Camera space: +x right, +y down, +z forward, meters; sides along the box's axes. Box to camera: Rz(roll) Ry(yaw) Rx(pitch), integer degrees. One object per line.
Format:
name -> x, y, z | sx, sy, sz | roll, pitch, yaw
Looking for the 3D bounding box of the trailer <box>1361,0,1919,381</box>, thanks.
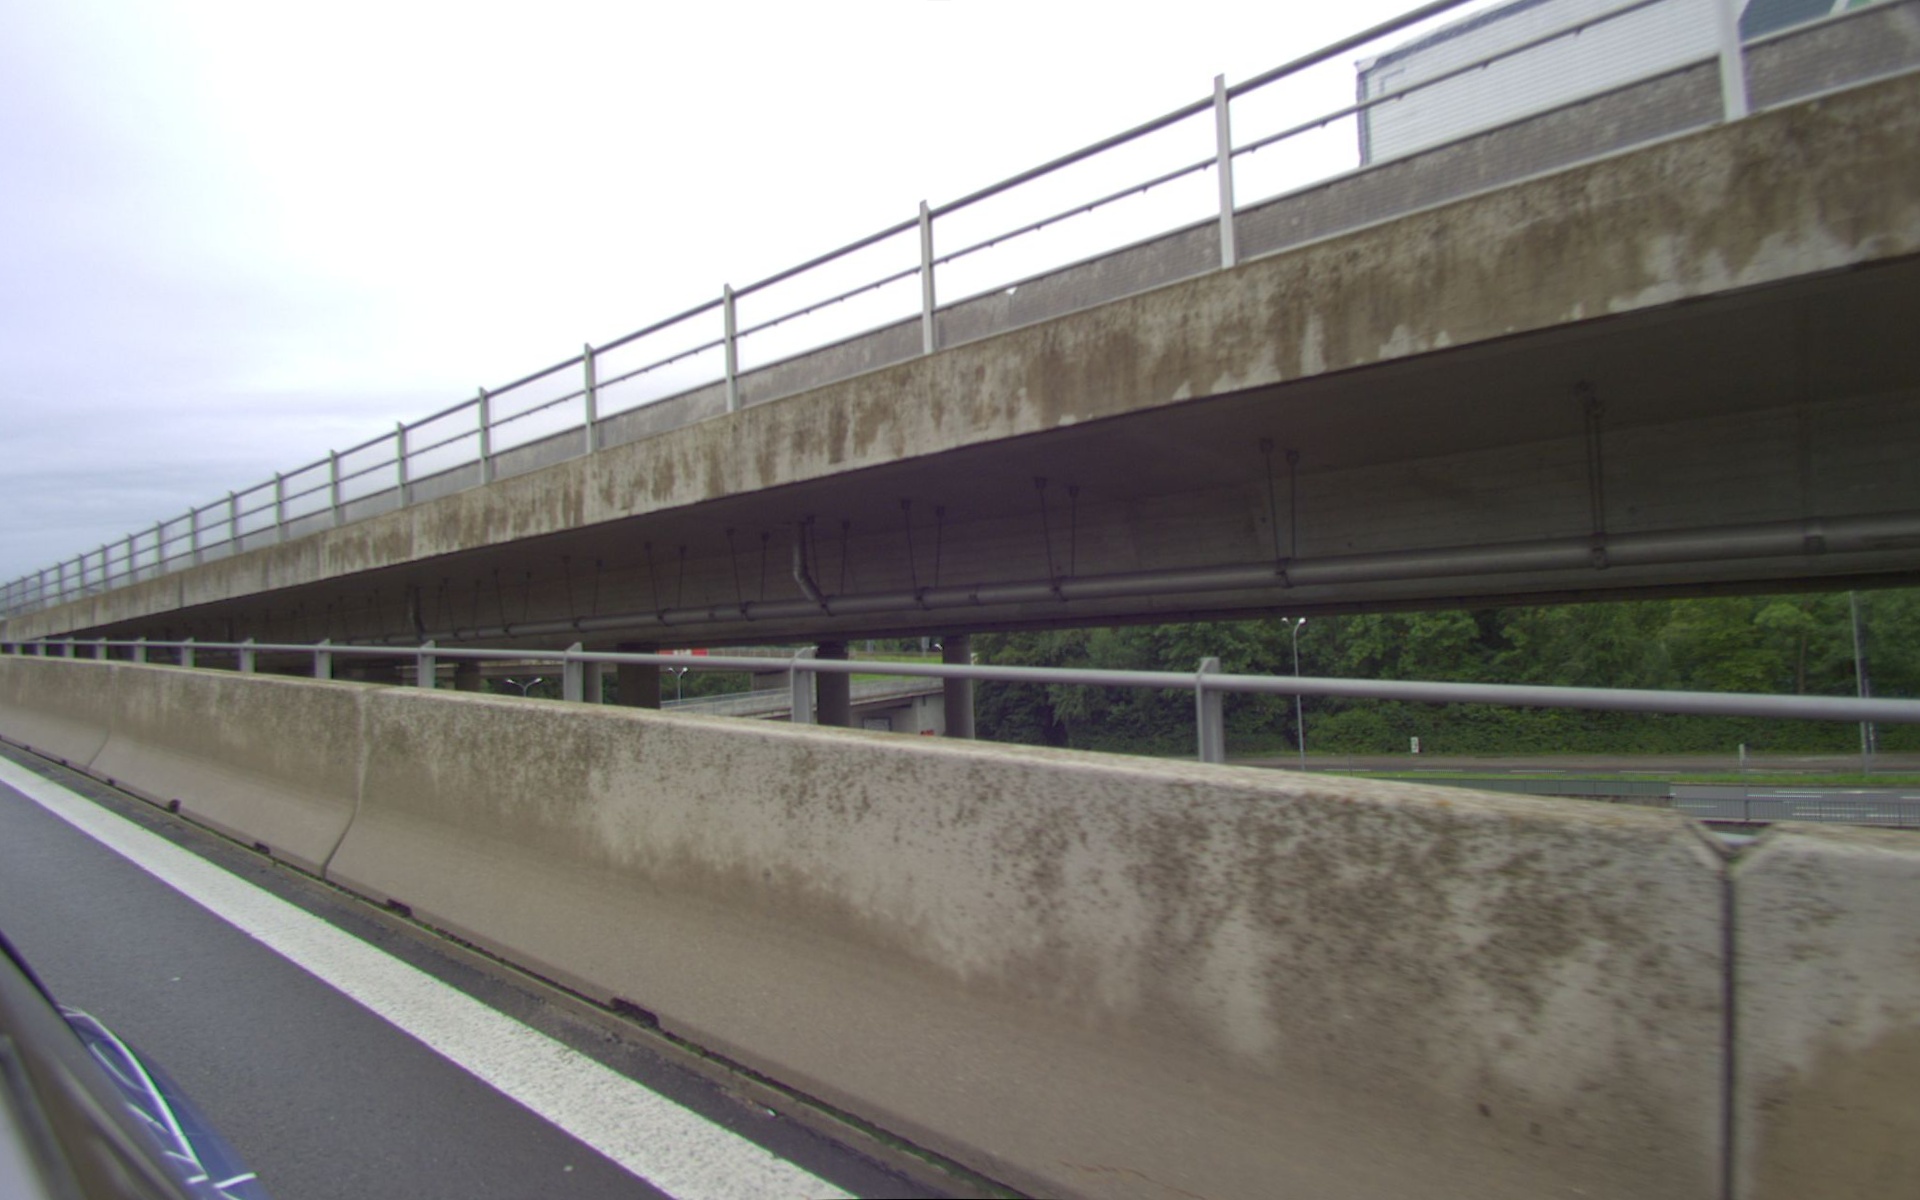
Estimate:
trailer -> 10.487, -4.791, 7.073 | 14.049, 3.323, 2.631 | -5, -2, 40
